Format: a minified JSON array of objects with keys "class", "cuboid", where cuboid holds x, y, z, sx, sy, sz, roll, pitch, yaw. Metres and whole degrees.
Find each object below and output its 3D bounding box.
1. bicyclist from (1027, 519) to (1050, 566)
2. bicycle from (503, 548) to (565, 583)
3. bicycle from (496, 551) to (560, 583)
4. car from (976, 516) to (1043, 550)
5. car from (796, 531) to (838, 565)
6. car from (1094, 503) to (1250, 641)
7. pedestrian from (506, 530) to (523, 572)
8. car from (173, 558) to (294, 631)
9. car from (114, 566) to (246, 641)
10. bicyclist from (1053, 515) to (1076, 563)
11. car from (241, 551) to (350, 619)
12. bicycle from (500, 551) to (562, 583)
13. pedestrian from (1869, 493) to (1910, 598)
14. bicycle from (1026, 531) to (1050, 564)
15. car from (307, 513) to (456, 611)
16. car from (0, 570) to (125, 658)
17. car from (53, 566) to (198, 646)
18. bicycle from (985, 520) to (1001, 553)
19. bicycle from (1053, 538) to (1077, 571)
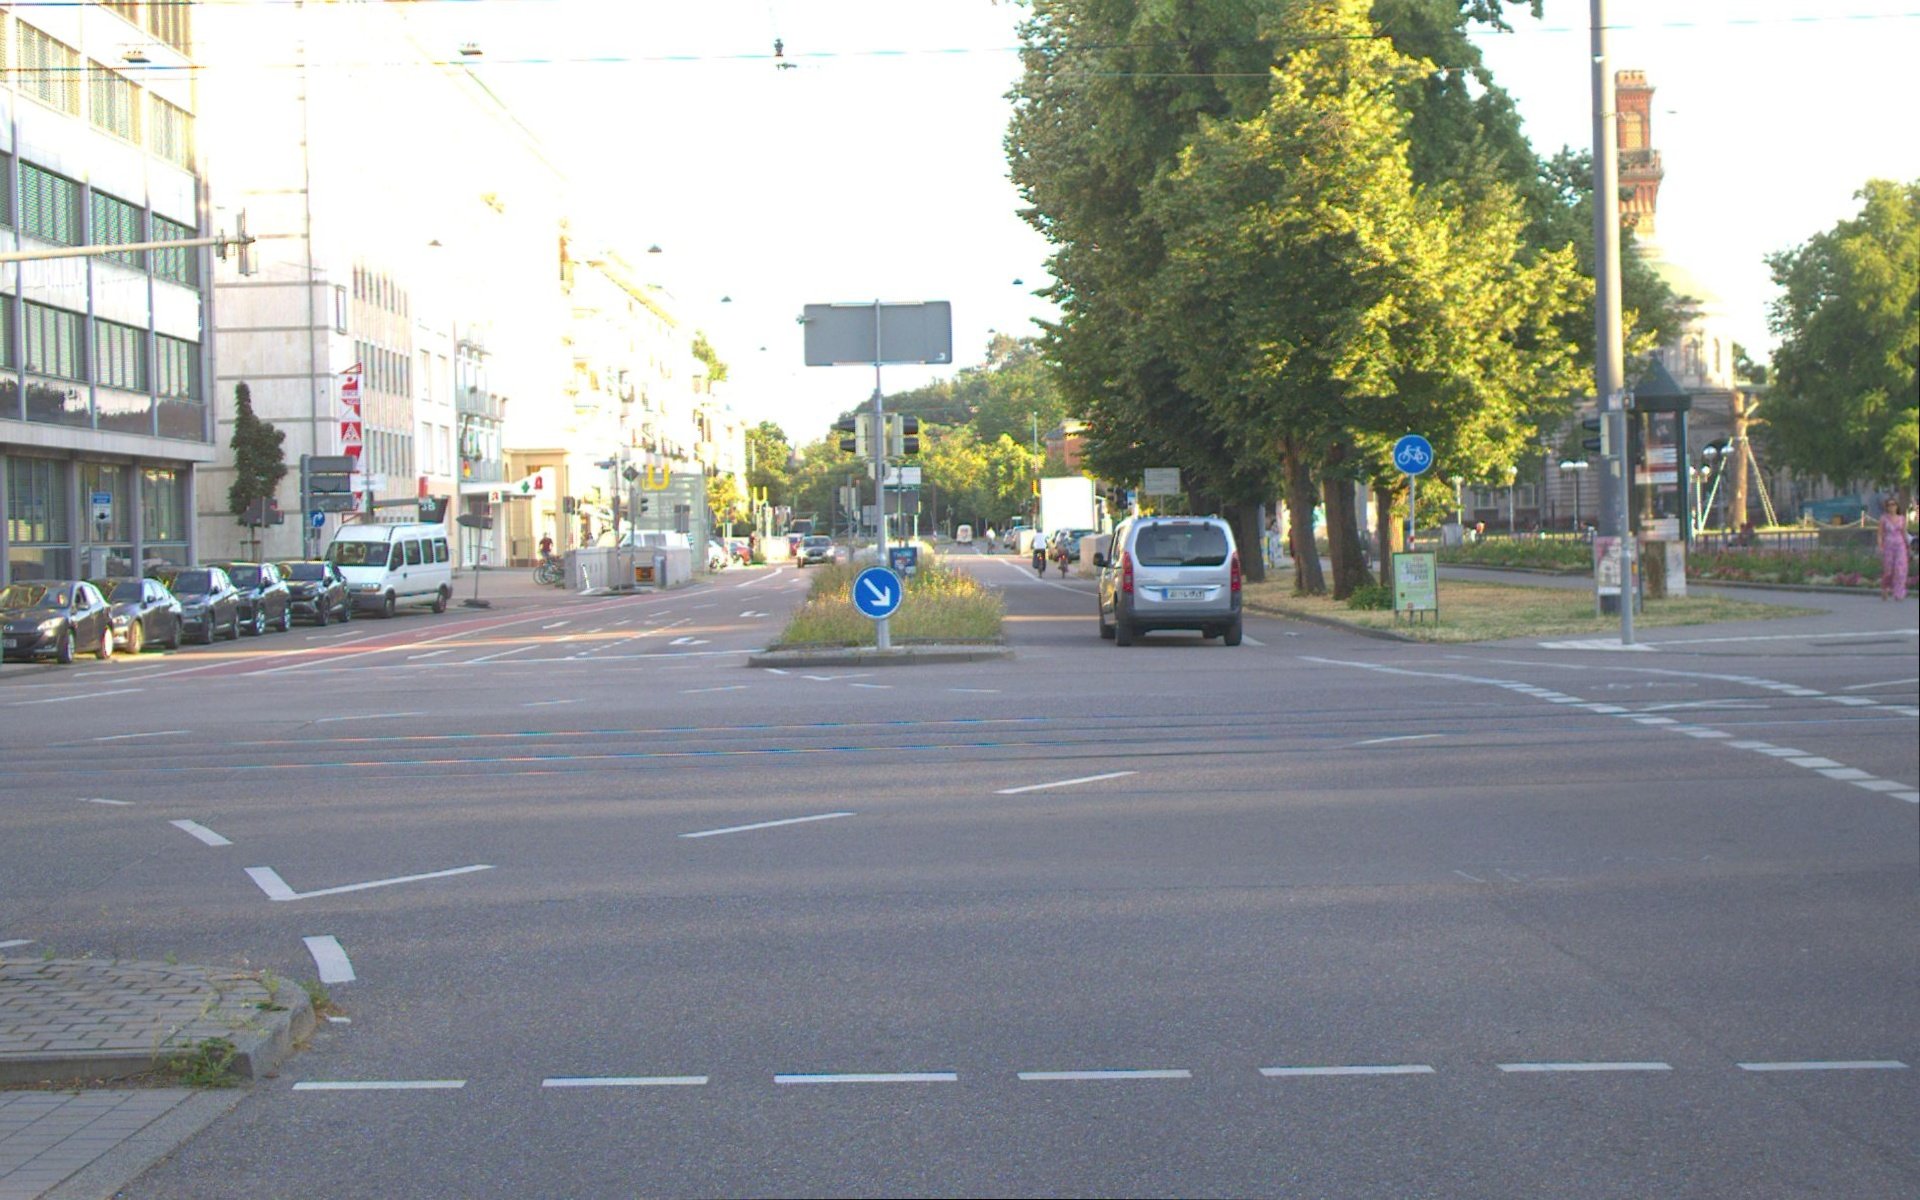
[{"class":"bicyclist","cuboid":[2.788,-2.056,122.259,0.746,1.658,0.873,-2,1,-1]},{"class":"bicycle","cuboid":[-15.981,-1.294,128.882,2.205,1.232,0.839,-2,1,-2]},{"class":"bicycle","cuboid":[-15.747,-1.215,125.348,2.205,1.108,0.619,-2,1,-2]},{"class":"car","cuboid":[3.064,-4.191,214.256,3.986,2.007,2.000,-1,1,-4]},{"class":"car","cuboid":[-6.599,-2.403,158.973,1.863,1.514,4.001,-2,1,-2]},{"class":"car","cuboid":[3.051,-0.439,50.212,1.763,1.882,4.500,-2,1,-3]},{"class":"pedestrian","cuboid":[-21.365,-2.352,164.782,0.680,2.007,0.545,-2,1,0]},{"class":"car","cuboid":[-16.558,-0.148,78.554,1.920,1.563,4.000,-2,1,-1]},{"class":"car","cuboid":[-16.580,0.054,73.252,1.920,1.459,4.000,-2,1,-1]},{"class":"bicyclist","cuboid":[3.720,-2.173,122.602,0.746,1.685,0.799,-2,1,-1]},{"class":"car","cuboid":[-16.360,-0.382,84.780,1.920,1.563,4.000,-2,1,-1]},{"class":"bicycle","cuboid":[-15.821,-1.211,126.832,2.205,1.108,0.689,-2,1,-2]},{"class":"pedestrian","cuboid":[14.716,-0.862,54.435,0.460,1.651,0.567,-1,1,-1]},{"class":"bicycle","cuboid":[2.790,-1.876,122.752,0.746,1.140,2.505,-2,1,-1]},{"class":"car","cuboid":[-15.300,-1.051,91.230,2.002,2.469,5.865,-1,1,10]},{"class":"car","cuboid":[-16.486,0.233,61.907,1.920,1.459,4.103,-2,1,-1]},{"class":"car","cuboid":[-16.576,0.103,68.437,1.920,1.459,4.000,-2,1,-1]},{"class":"bicycle","cuboid":[2.027,-3.892,211.514,0.895,2.007,4.000,-1,1,-1]},{"class":"bicycle","cuboid":[3.737,-1.627,122.610,0.746,1.140,2.505,-2,1,-1]}]
